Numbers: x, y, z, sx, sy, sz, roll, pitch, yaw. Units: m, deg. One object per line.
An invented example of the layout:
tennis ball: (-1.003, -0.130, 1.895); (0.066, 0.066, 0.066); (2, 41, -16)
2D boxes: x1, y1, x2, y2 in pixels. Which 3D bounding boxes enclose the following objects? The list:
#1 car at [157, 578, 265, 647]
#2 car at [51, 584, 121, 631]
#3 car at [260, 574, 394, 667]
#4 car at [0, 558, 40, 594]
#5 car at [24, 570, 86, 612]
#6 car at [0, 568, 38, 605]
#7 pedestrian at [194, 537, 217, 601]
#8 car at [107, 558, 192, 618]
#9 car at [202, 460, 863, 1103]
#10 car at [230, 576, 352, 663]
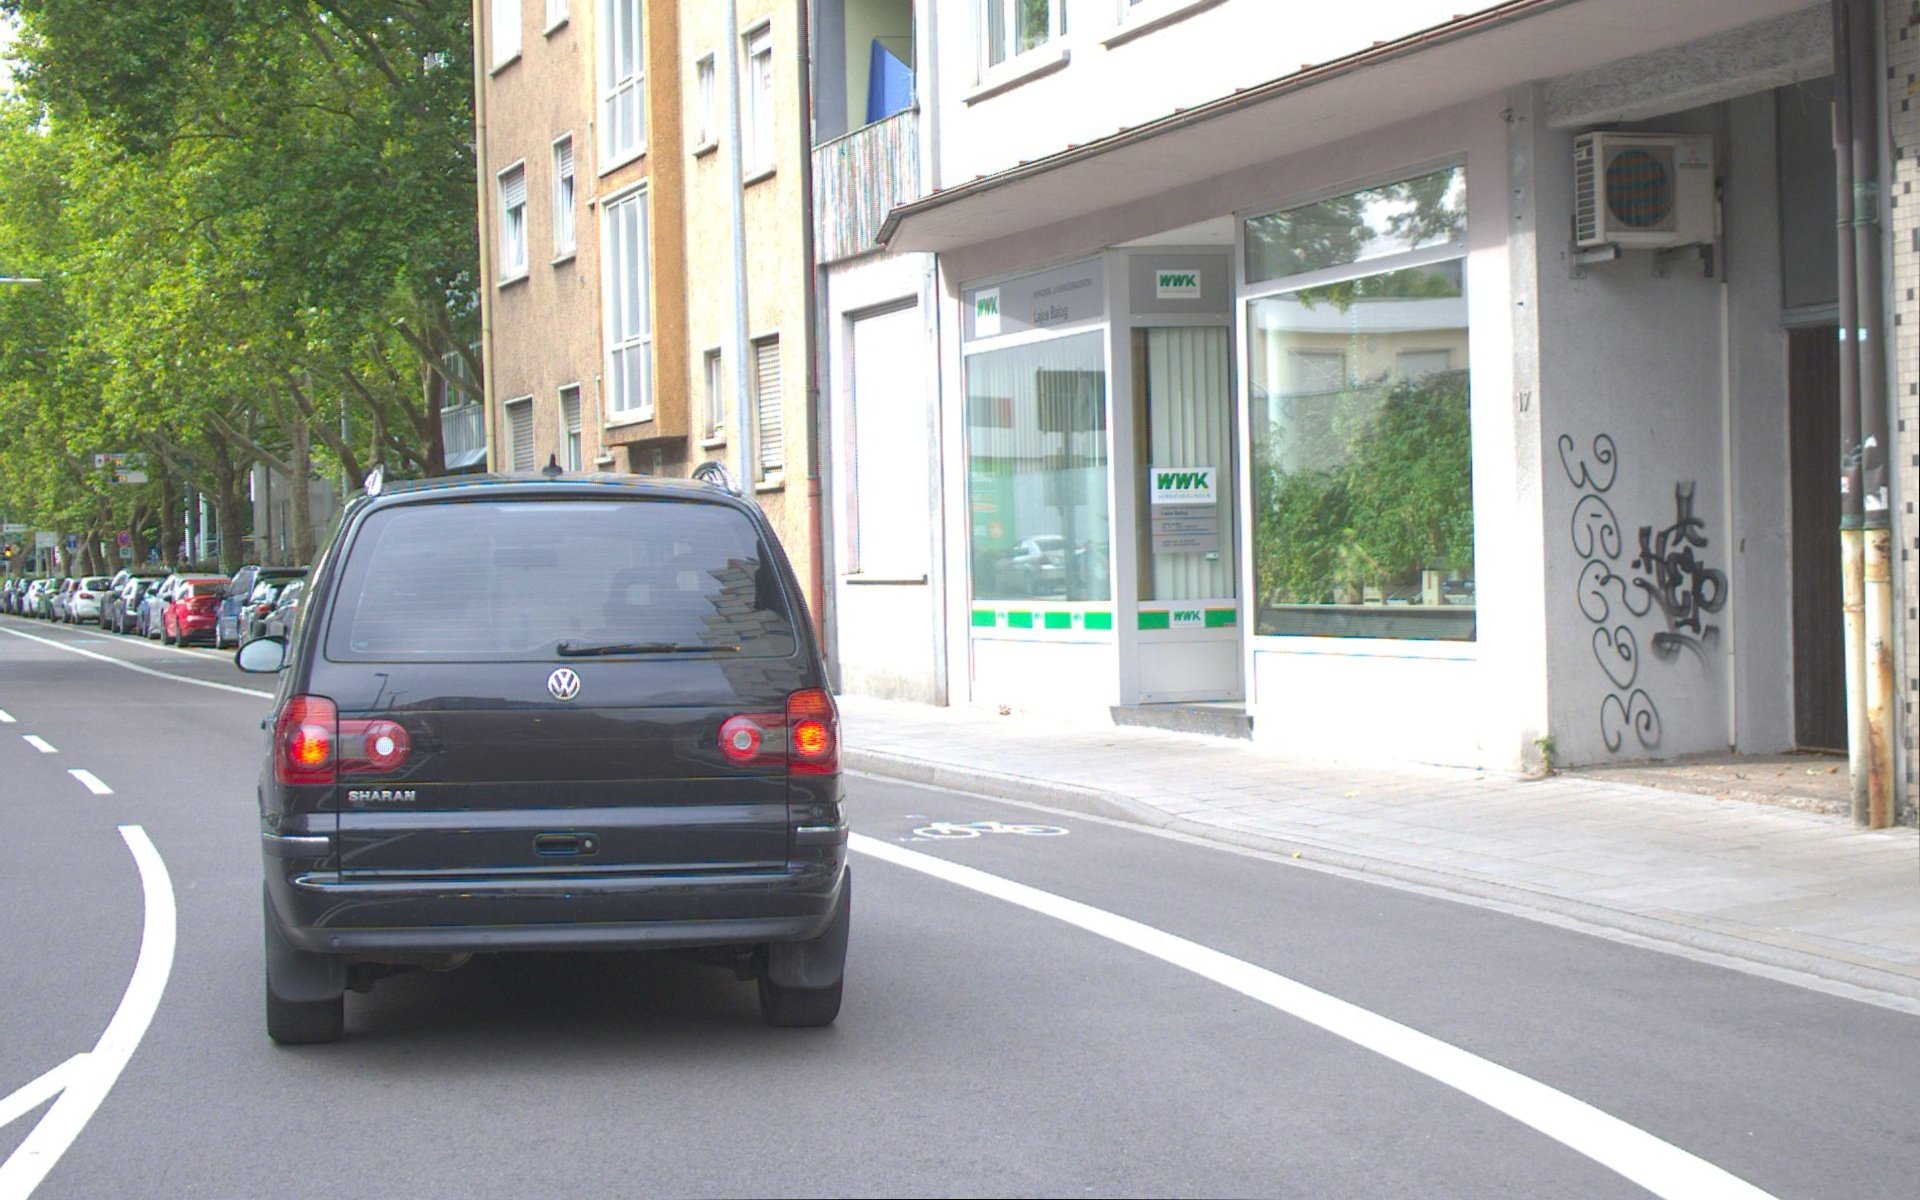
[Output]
car: (-15.892, 0.241, 72.793); (1.675, 1.389, 4.462); (-1, 1, -19)
car: (-26.855, 0.216, 105.593); (1.675, 1.389, 4.462); (-1, 1, -19)
car: (-10.859, 0.319, 58.800); (1.657, 1.417, 3.867); (-2, 2, -19)
car: (-38.364, -0.962, 139.440); (1.675, 1.389, 3.880); (-1, 1, -19)
car: (-31.611, -0.326, 120.068); (1.641, 1.408, 3.417); (-2, 1, -22)
car: (-36.973, -0.518, 134.038); (1.675, 1.389, 3.880); (-1, 1, -19)
pedestrian: (-23.770, -0.979, 108.266); (0.642, 1.968, 0.692); (0, 2, -17)
car: (-20.709, -0.314, 87.745); (1.629, 1.465, 4.319); (-1, 1, -19)
car: (-1.463, 0.446, 11.431); (1.812, 1.760, 3.739); (-1, 2, -9)
car: (-12.353, 0.337, 63.341); (1.657, 1.417, 3.948); (-2, 2, -19)
